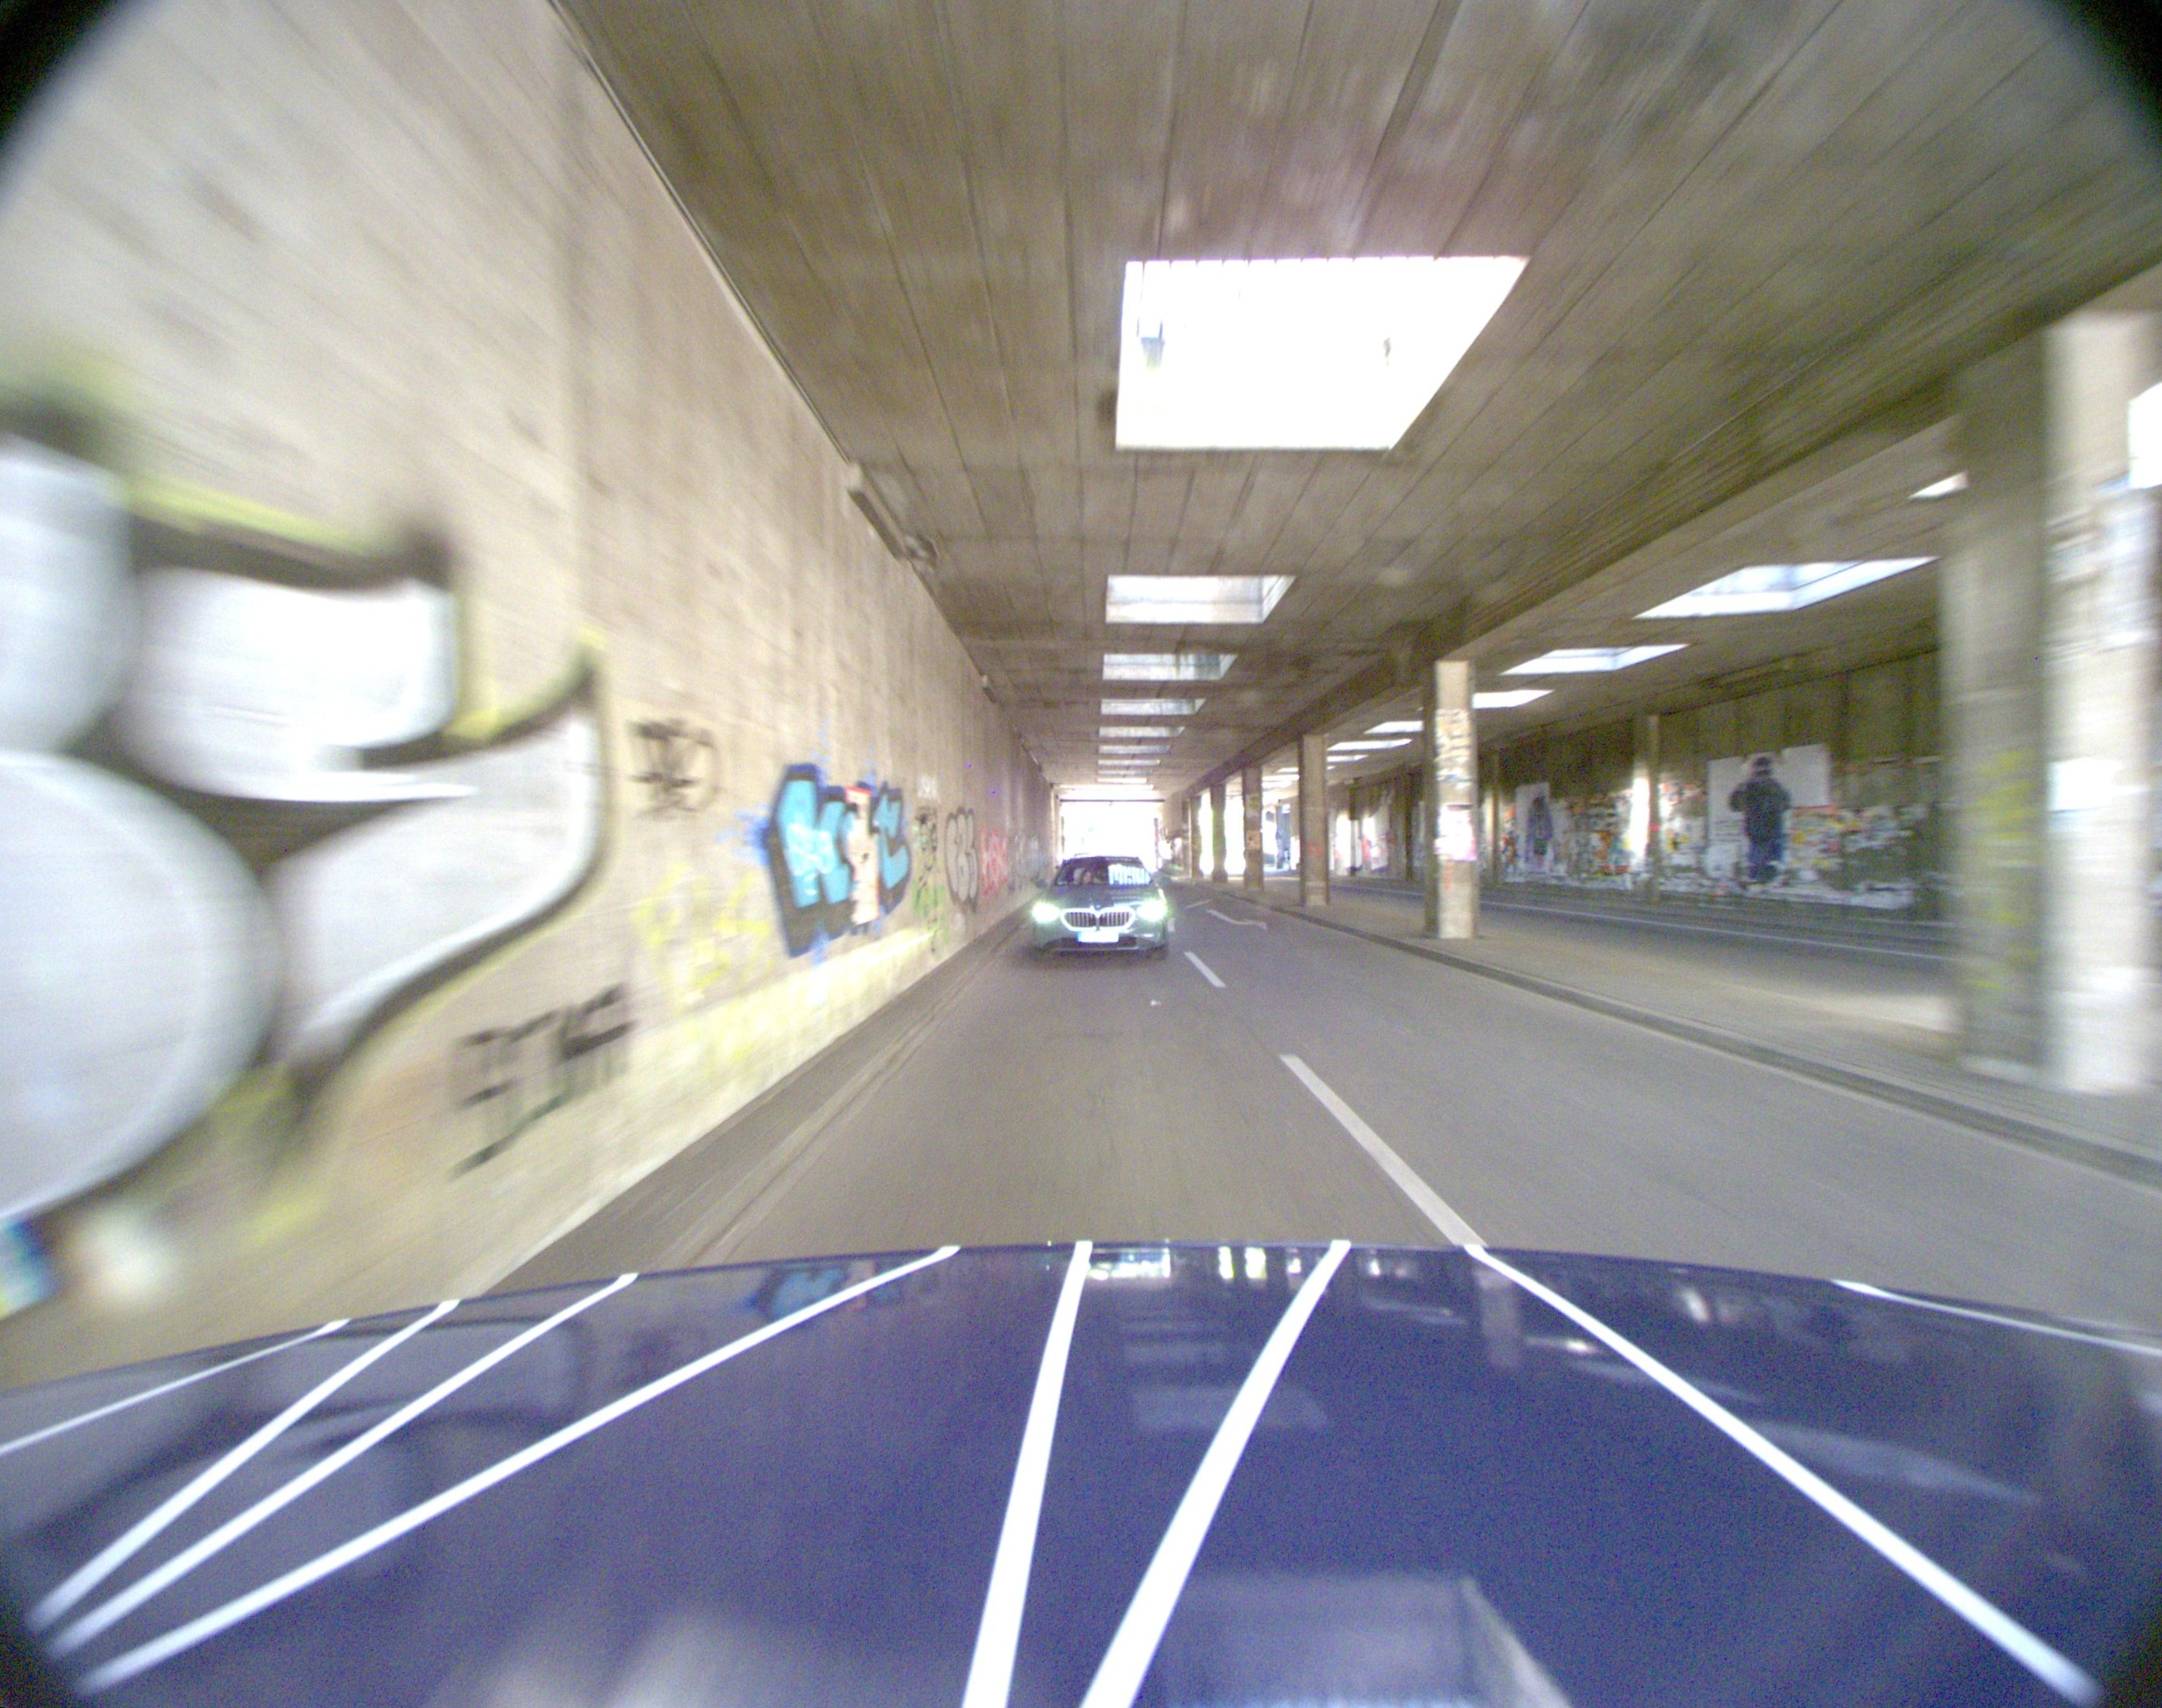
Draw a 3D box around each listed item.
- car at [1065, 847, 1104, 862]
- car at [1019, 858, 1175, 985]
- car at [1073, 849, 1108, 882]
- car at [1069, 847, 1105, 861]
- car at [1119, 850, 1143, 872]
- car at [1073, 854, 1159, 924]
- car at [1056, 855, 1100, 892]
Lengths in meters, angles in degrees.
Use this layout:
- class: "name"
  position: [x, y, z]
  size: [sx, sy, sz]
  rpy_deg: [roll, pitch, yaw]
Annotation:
- class: "car"
  position: [0.351, 0.065, 80.325]
  size: [3.998, 1.386, 1.833]
  rpy_deg: [-2, 1, -2]
- class: "car"
  position: [0.296, 0.872, 12.170]
  size: [1.957, 1.546, 5.040]
  rpy_deg: [-1, 0, 2]
- class: "car"
  position: [0.534, 0.532, 37.755]
  size: [1.616, 1.546, 4.013]
  rpy_deg: [-1, 0, 2]
- class: "car"
  position: [0.667, -0.033, 86.251]
  size: [3.998, 1.386, 1.833]
  rpy_deg: [-2, 1, -2]
- class: "car"
  position: [3.644, 0.471, 55.701]
  size: [1.616, 1.546, 4.013]
  rpy_deg: [-1, 0, 2]
- class: "car"
  position: [0.884, 0.801, 19.580]
  size: [1.957, 1.546, 4.248]
  rpy_deg: [-1, 0, 2]
- class: "car"
  position: [-0.067, 0.758, 31.591]
  size: [1.616, 1.367, 4.199]
  rpy_deg: [-1, 0, 2]
